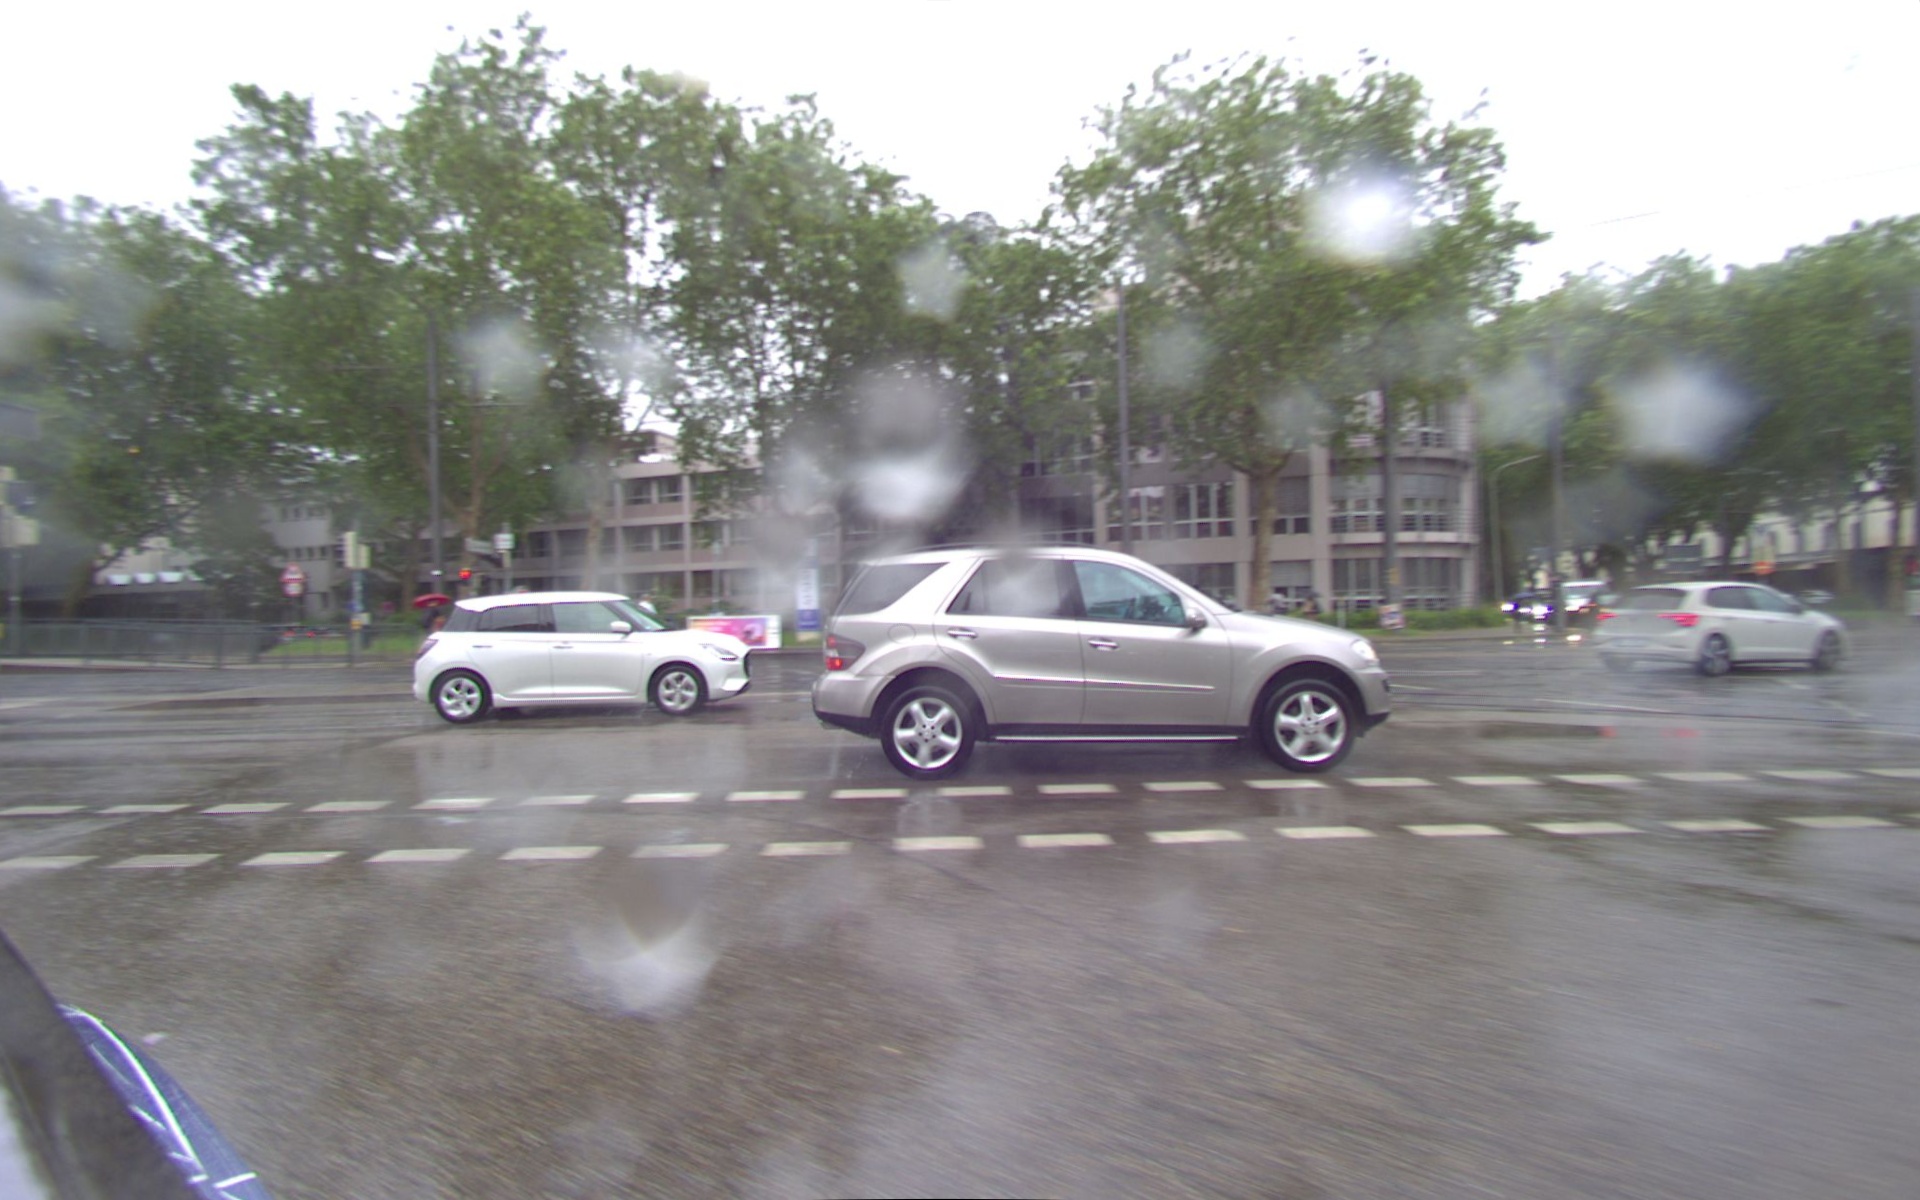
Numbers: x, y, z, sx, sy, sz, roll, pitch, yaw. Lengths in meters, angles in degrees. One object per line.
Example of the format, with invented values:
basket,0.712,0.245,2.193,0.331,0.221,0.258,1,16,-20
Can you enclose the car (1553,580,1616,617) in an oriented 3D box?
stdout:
car,31.889,-0.074,51.802,1.991,1.785,3.972,-1,0,21

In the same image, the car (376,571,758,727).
car,-4.545,0.524,12.296,4.008,1.599,1.811,-2,0,-10

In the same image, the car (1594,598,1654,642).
car,29.575,0.862,45.173,1.795,1.785,3.962,-3,-1,28

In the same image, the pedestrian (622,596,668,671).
pedestrian,-7.075,0.739,22.750,0.707,1.622,0.736,-1,0,-43

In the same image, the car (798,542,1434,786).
car,1.132,0.459,8.376,4.614,1.659,1.914,-2,1,0

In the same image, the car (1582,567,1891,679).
car,12.252,0.313,16.017,4.119,1.548,1.818,-1,0,-18
